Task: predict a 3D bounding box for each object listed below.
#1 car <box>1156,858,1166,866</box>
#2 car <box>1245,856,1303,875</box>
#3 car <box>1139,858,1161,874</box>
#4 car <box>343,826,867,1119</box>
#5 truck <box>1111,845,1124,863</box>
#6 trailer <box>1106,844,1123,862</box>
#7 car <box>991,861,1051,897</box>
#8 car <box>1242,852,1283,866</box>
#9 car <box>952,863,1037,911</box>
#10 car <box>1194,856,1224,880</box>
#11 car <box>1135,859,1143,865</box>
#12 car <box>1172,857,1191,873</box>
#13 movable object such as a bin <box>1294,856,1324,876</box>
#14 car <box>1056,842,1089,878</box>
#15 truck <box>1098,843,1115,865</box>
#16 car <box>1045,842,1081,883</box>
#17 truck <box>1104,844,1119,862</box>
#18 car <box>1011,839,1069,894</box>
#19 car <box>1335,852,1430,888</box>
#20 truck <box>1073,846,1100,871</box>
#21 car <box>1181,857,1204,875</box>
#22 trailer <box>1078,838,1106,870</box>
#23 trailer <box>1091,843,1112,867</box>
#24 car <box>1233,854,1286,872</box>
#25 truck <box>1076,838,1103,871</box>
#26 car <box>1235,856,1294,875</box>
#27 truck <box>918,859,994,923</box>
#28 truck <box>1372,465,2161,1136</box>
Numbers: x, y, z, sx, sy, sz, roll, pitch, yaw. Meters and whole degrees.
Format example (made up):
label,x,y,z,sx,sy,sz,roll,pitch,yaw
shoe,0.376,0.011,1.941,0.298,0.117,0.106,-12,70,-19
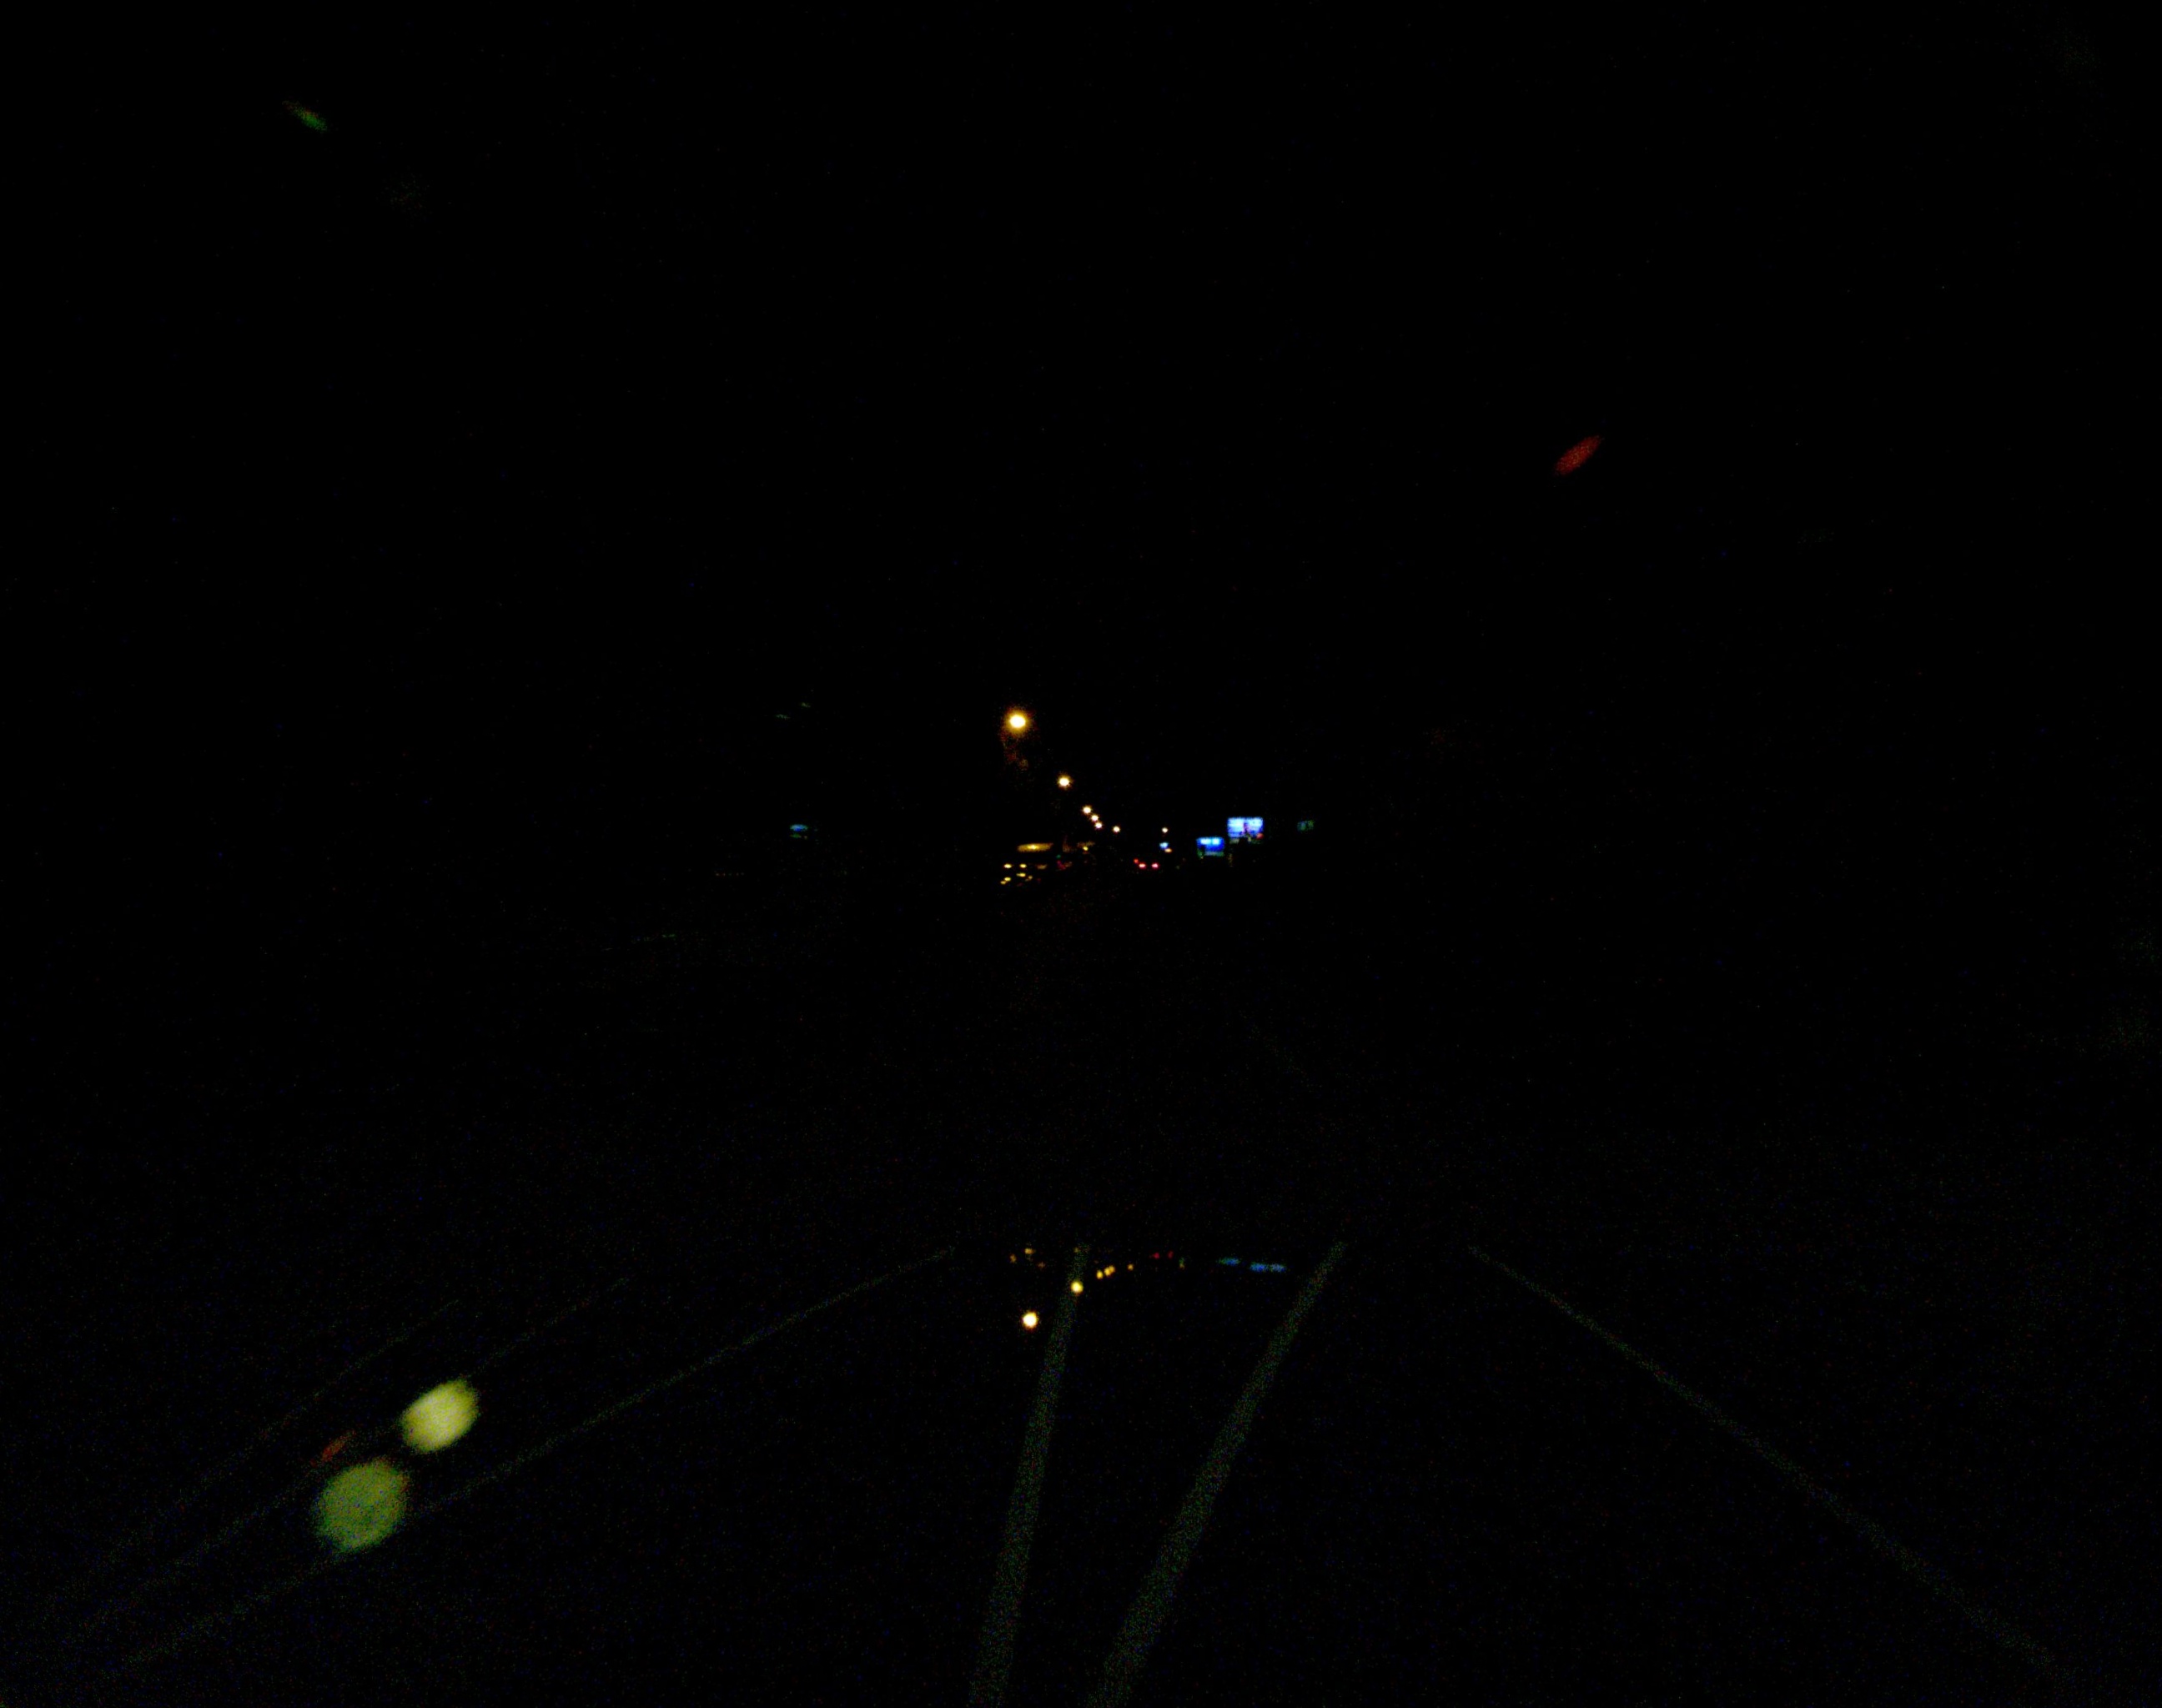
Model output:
label,x,y,z,sx,sy,sz,roll,pitch,yaw
car,14.772,1.415,139.901,1.760,1.382,4.310,-1,0,5
car,15.848,0.932,62.342,4.420,1.432,1.790,-1,0,-25
car,6.345,1.113,70.200,1.862,1.411,4.001,-1,-1,3
car,-3.994,0.819,7.700,1.998,2.002,4.913,0,0,3
truck,8.480,0.054,177.319,2.659,3.850,10.236,-2,-2,4
trailer,8.674,-0.200,197.214,3.071,4.448,13.418,-2,0,8
car,-2.535,1.049,33.220,1.773,1.404,4.552,-1,0,6
car,21.344,0.578,89.506,4.409,1.644,1.923,-1,0,6
car,-2.917,1.079,26.837,1.950,1.480,5.013,-1,0,6
car,10.316,1.061,61.300,1.818,1.838,4.415,-1,0,2
car,14.179,1.989,186.150,1.824,1.429,4.399,-1,0,4
car,11.501,1.238,86.997,1.808,1.788,4.879,-1,0,4
movable object such as a bin,17.402,0.901,58.029,1.861,1.491,1.610,-1,0,4
car,-0.605,0.461,60.495,1.998,2.556,6.016,-4,0,3
truck,4.944,0.032,146.848,2.797,3.946,9.824,-2,-1,3
car,-1.212,0.550,52.859,2.133,2.556,5.910,-4,0,1
truck,7.766,-0.201,190.535,3.071,4.449,5.637,-2,0,8
car,-2.019,0.609,39.463,1.998,2.511,5.912,-4,0,6
car,14.847,0.787,37.504,4.133,1.423,1.899,-5,-1,22
truck,0.649,0.472,82.472,2.406,2.578,6.600,-1,0,5
car,11.147,1.178,76.194,1.951,1.678,4.818,-1,0,6
trailer,1.582,-0.019,98.598,2.772,3.741,14.659,-2,0,4
trailer,3.248,0.174,119.976,2.884,3.503,8.286,-1,0,4
car,16.572,0.851,70.538,4.419,1.551,1.996,-1,0,-21
truck,1.096,0.012,91.163,2.772,3.741,5.229,-2,0,4
car,15.744,0.953,65.089,4.678,1.542,1.996,-1,0,-25
truck,-3.474,0.975,21.728,1.373,1.635,3.813,-1,0,2
truck,6.690,-0.314,9.338,2.753,4.010,9.561,-1,0,2
